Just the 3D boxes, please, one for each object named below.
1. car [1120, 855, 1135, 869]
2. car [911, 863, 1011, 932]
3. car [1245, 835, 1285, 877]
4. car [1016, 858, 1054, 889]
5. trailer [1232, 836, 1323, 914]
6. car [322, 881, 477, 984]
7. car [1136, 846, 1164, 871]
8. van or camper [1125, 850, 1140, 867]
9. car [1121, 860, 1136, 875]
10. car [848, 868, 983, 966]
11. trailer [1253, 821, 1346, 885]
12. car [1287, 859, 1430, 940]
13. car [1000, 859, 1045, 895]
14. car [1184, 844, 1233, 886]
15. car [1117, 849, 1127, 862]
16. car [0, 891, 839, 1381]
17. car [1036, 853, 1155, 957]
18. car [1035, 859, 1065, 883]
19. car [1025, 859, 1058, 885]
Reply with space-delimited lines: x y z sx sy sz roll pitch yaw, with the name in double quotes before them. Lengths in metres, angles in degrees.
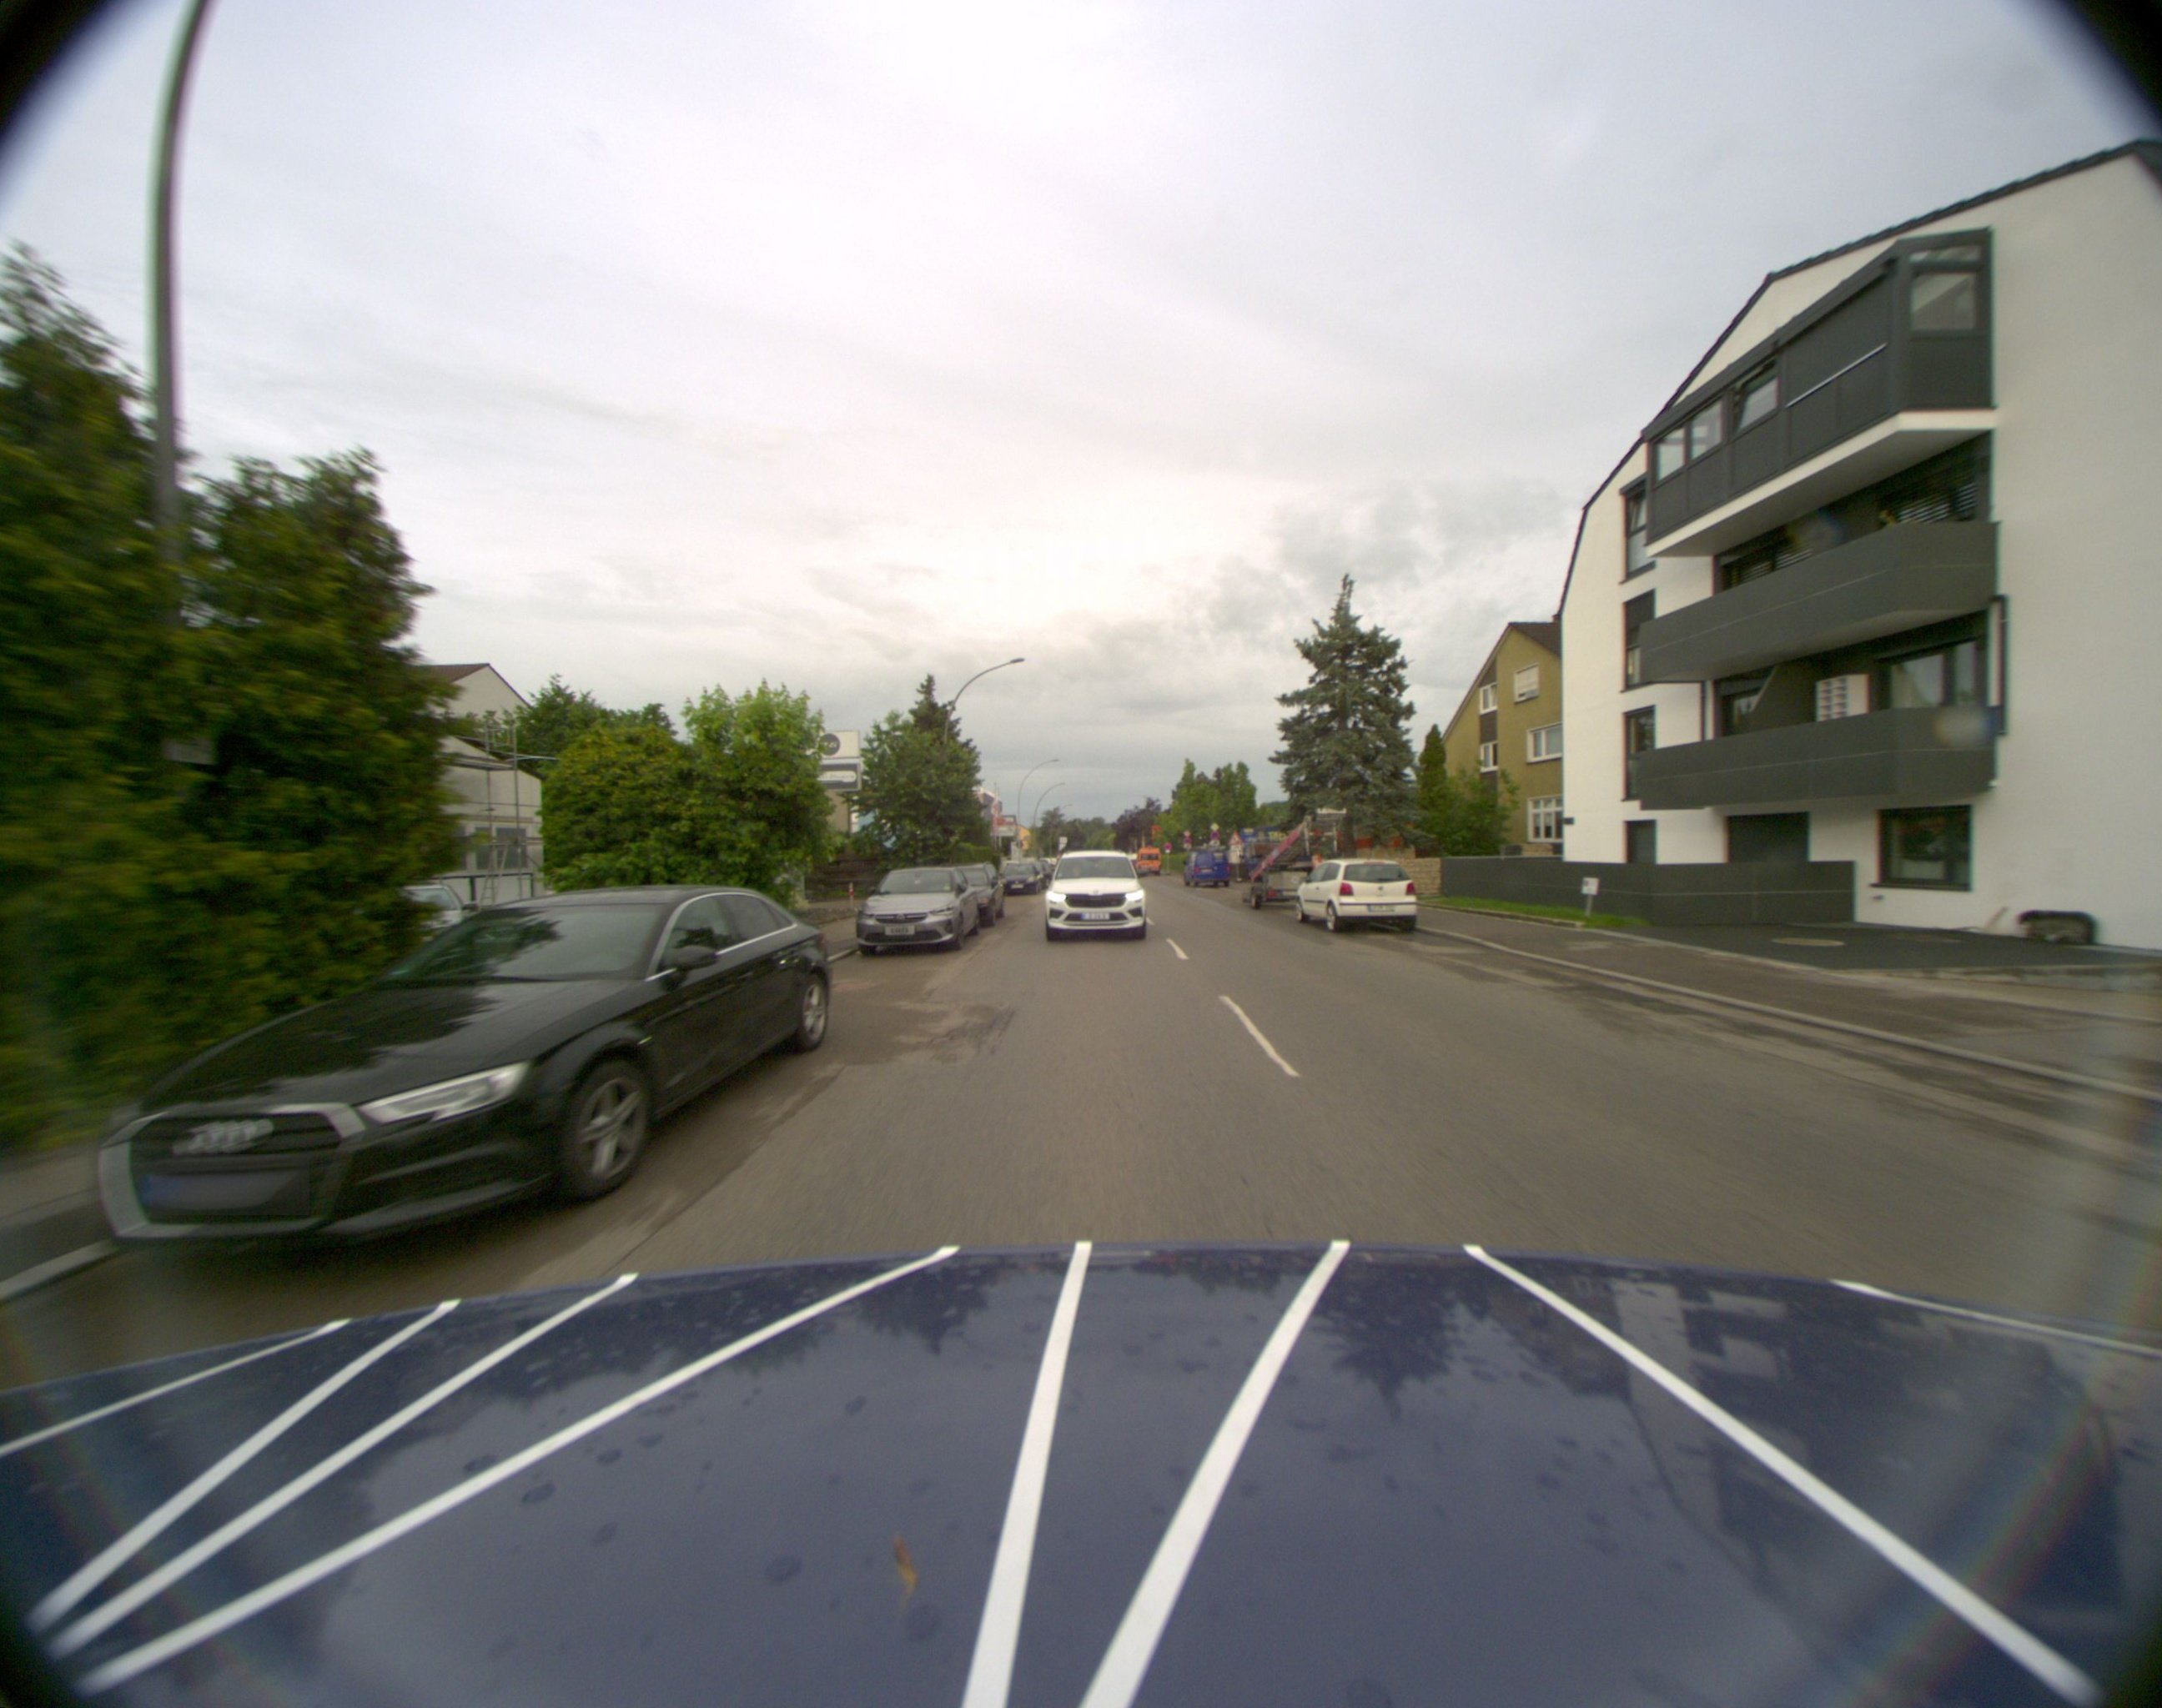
"car" 5.980 1.006 97.886 1.811 1.761 4.000 -1 0 2
"car" -2.823 0.974 18.825 1.766 1.432 4.483 -1 0 0
"car" 10.795 0.111 44.843 1.569 2.392 3.595 -1 0 2
"car" -2.403 0.999 40.576 1.677 1.455 3.551 -3 0 1
"trailer" 5.871 0.567 23.173 1.721 2.114 4.006 -2 1 1
"car" -11.322 1.196 12.853 1.608 1.361 3.759 -2 0 -37
"car" 6.586 0.390 72.718 2.264 2.275 4.531 1 0 0
"van or camper" 7.055 0.635 104.145 1.811 2.328 4.000 -1 0 2
"car" 5.789 1.596 92.809 1.811 1.761 4.000 -1 0 2
"car" -2.878 1.039 14.062 1.656 1.432 4.042 -2 0 -1
"trailer" 10.983 -0.059 38.479 4.059 3.029 2.168 -2 1 1
"car" 5.824 0.874 16.437 1.740 1.496 3.871 -1 0 1
"car" -2.618 1.006 34.824 1.677 1.455 3.690 -3 0 1
"car" 6.835 0.573 41.199 1.998 2.112 4.755 -1 0 2
"car" 7.514 0.235 139.050 1.659 2.221 3.744 -2 1 1
"car" -3.028 1.045 4.577 1.756 1.410 4.110 -1 0 1
"car" 0.270 0.828 14.646 1.884 1.650 4.831 -1 0 1
"car" -2.042 1.089 50.930 1.677 1.455 3.551 -3 0 1
"car" -2.338 1.046 45.908 1.677 1.387 3.551 -3 0 1
